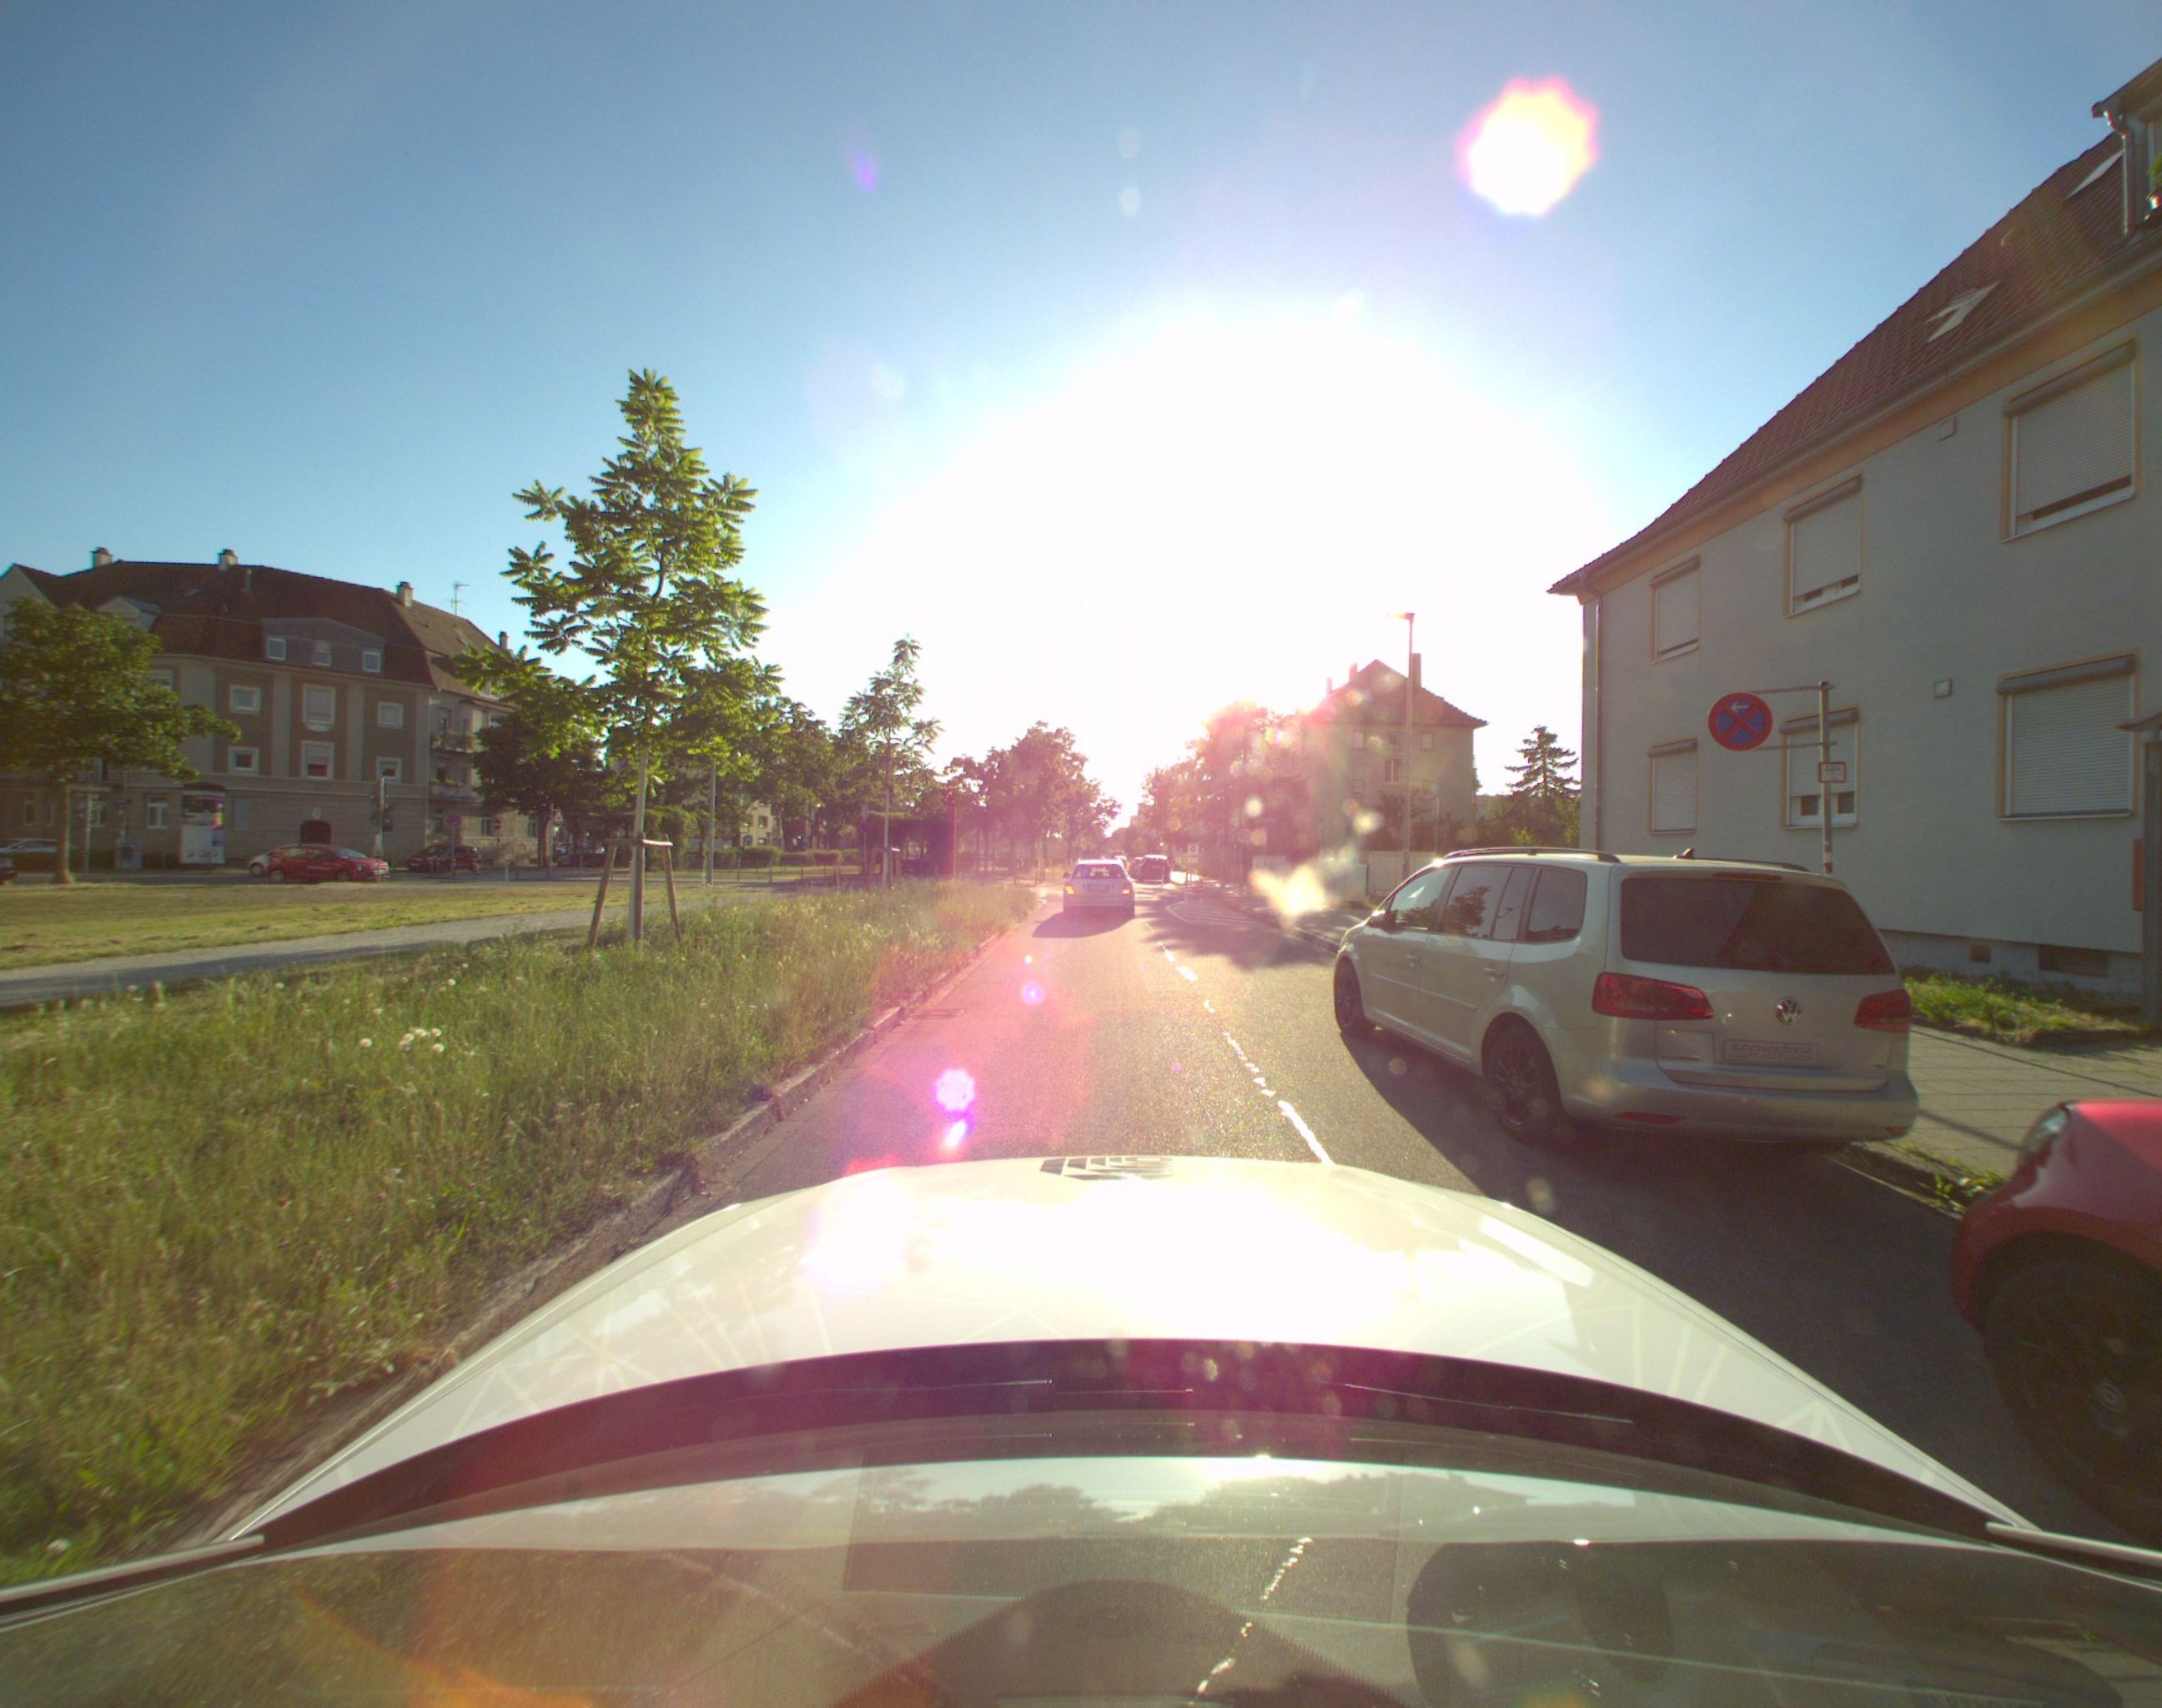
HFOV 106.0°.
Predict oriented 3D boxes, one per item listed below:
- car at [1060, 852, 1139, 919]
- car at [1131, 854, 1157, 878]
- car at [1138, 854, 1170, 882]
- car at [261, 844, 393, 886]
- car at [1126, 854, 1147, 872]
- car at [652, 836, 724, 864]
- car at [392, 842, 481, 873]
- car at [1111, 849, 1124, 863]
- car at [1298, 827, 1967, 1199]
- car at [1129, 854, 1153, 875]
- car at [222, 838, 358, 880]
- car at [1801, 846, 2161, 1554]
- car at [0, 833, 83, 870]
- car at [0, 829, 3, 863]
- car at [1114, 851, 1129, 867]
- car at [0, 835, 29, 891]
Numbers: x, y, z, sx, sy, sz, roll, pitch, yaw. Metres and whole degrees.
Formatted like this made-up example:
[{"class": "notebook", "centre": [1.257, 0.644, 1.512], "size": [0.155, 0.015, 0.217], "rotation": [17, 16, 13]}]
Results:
[{"class": "car", "centre": [0.505, 0.724, 20.964], "size": [1.816, 1.566, 4.002], "rotation": [0, 0, 2]}, {"class": "car", "centre": [4.522, 0.843, 58.925], "size": [1.715, 1.597, 4.002], "rotation": [1, 0, 2]}, {"class": "car", "centre": [4.420, 0.878, 49.766], "size": [1.715, 1.597, 4.001], "rotation": [1, -1, 2]}, {"class": "car", "centre": [-29.570, 0.422, 31.996], "size": [3.573, 1.481, 1.685], "rotation": [2, 1, 0]}, {"class": "car", "centre": [5.001, 0.790, 73.209], "size": [1.715, 1.597, 4.002], "rotation": [1, 0, 2]}, {"class": "car", "centre": [-39.526, -0.384, 81.967], "size": [6.332, 2.720, 1.984], "rotation": [1, 0, -29]}, {"class": "car", "centre": [-37.902, 0.254, 48.057], "size": [1.637, 1.707, 4.296], "rotation": [-2, -1, 3]}, {"class": "car", "centre": [5.664, 0.340, 126.219], "size": [1.854, 2.193, 5.072], "rotation": [1, 0, 2]}, {"class": "car", "centre": [3.169, 0.752, 6.029], "size": [1.712, 1.639, 4.560], "rotation": [3, 0, -2]}, {"class": "car", "centre": [4.726, 0.851, 64.549], "size": [1.715, 1.597, 4.002], "rotation": [1, 0, 2]}, {"class": "car", "centre": [-33.976, 0.211, 35.063], "size": [3.879, 1.596, 2.000], "rotation": [-2, -1, 1]}, {"class": "car", "centre": [3.167, 0.739, 0.771], "size": [1.723, 1.526, 3.735], "rotation": [0, 0, 1]}, {"class": "car", "centre": [-50.766, -0.111, 38.641], "size": [1.689, 1.637, 4.080], "rotation": [-2, -1, 3]}, {"class": "car", "centre": [-55.382, -0.430, 39.158], "size": [1.592, 1.716, 3.972], "rotation": [1, 0, 3]}, {"class": "car", "centre": [5.334, 0.633, 108.156], "size": [1.981, 2.023, 4.002], "rotation": [1, -1, 2]}, {"class": "car", "centre": [-33.291, 0.270, 22.520], "size": [1.975, 1.637, 4.831], "rotation": [-2, -1, 3]}]
